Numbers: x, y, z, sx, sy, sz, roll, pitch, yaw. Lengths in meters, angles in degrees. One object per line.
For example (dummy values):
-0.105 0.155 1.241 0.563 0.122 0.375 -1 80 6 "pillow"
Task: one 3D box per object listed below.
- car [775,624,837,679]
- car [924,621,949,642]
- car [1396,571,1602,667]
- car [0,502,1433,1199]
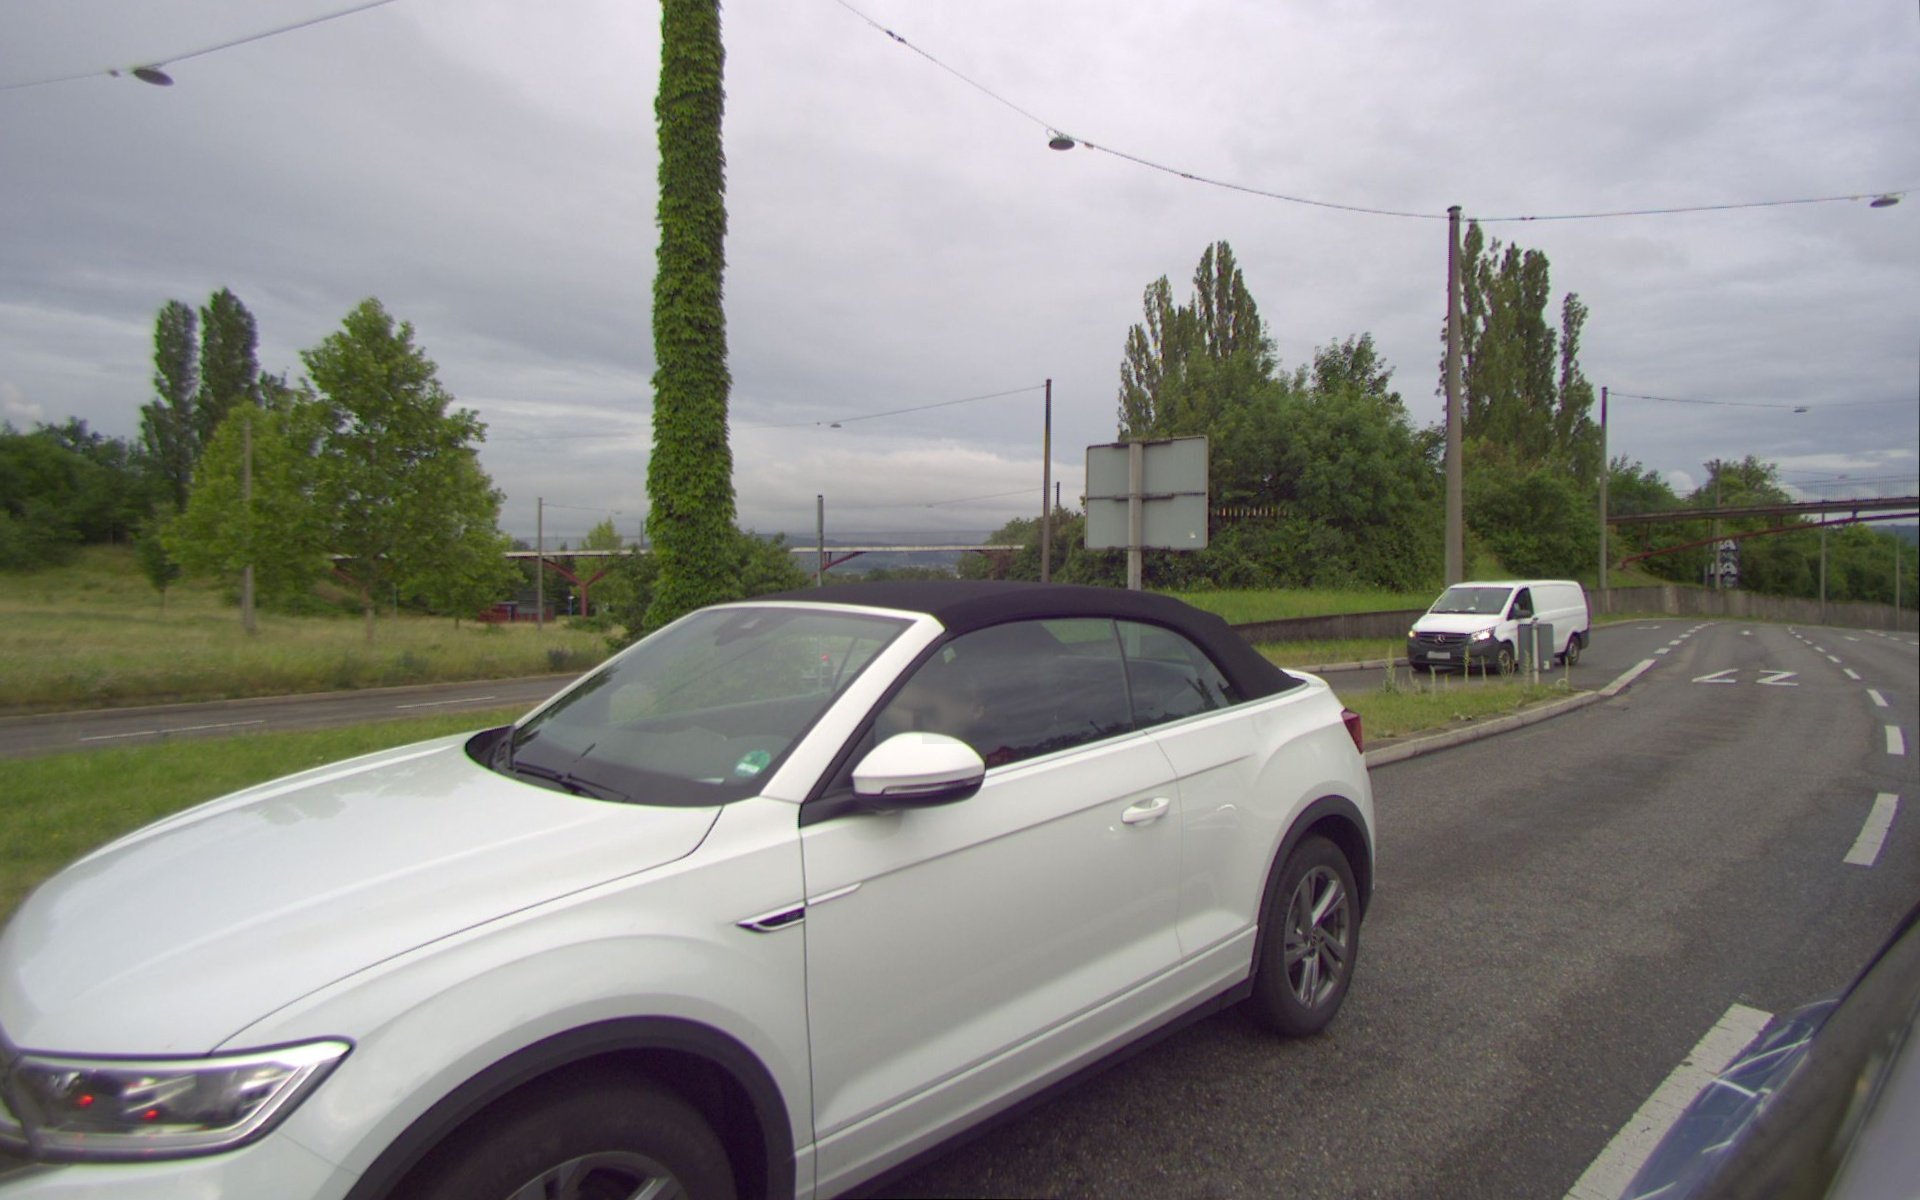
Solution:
-4.553 1.448 29.555 1.650 1.438 4.088 -1 -1 -11 "car"
-1.946 2.564 83.435 1.670 1.494 4.288 0 1 4 "car"
11.692 0.377 21.847 4.733 1.872 1.999 -1 -2 -36 "car"
-0.244 0.643 3.082 4.160 1.572 1.714 -1 1 -44 "car"
